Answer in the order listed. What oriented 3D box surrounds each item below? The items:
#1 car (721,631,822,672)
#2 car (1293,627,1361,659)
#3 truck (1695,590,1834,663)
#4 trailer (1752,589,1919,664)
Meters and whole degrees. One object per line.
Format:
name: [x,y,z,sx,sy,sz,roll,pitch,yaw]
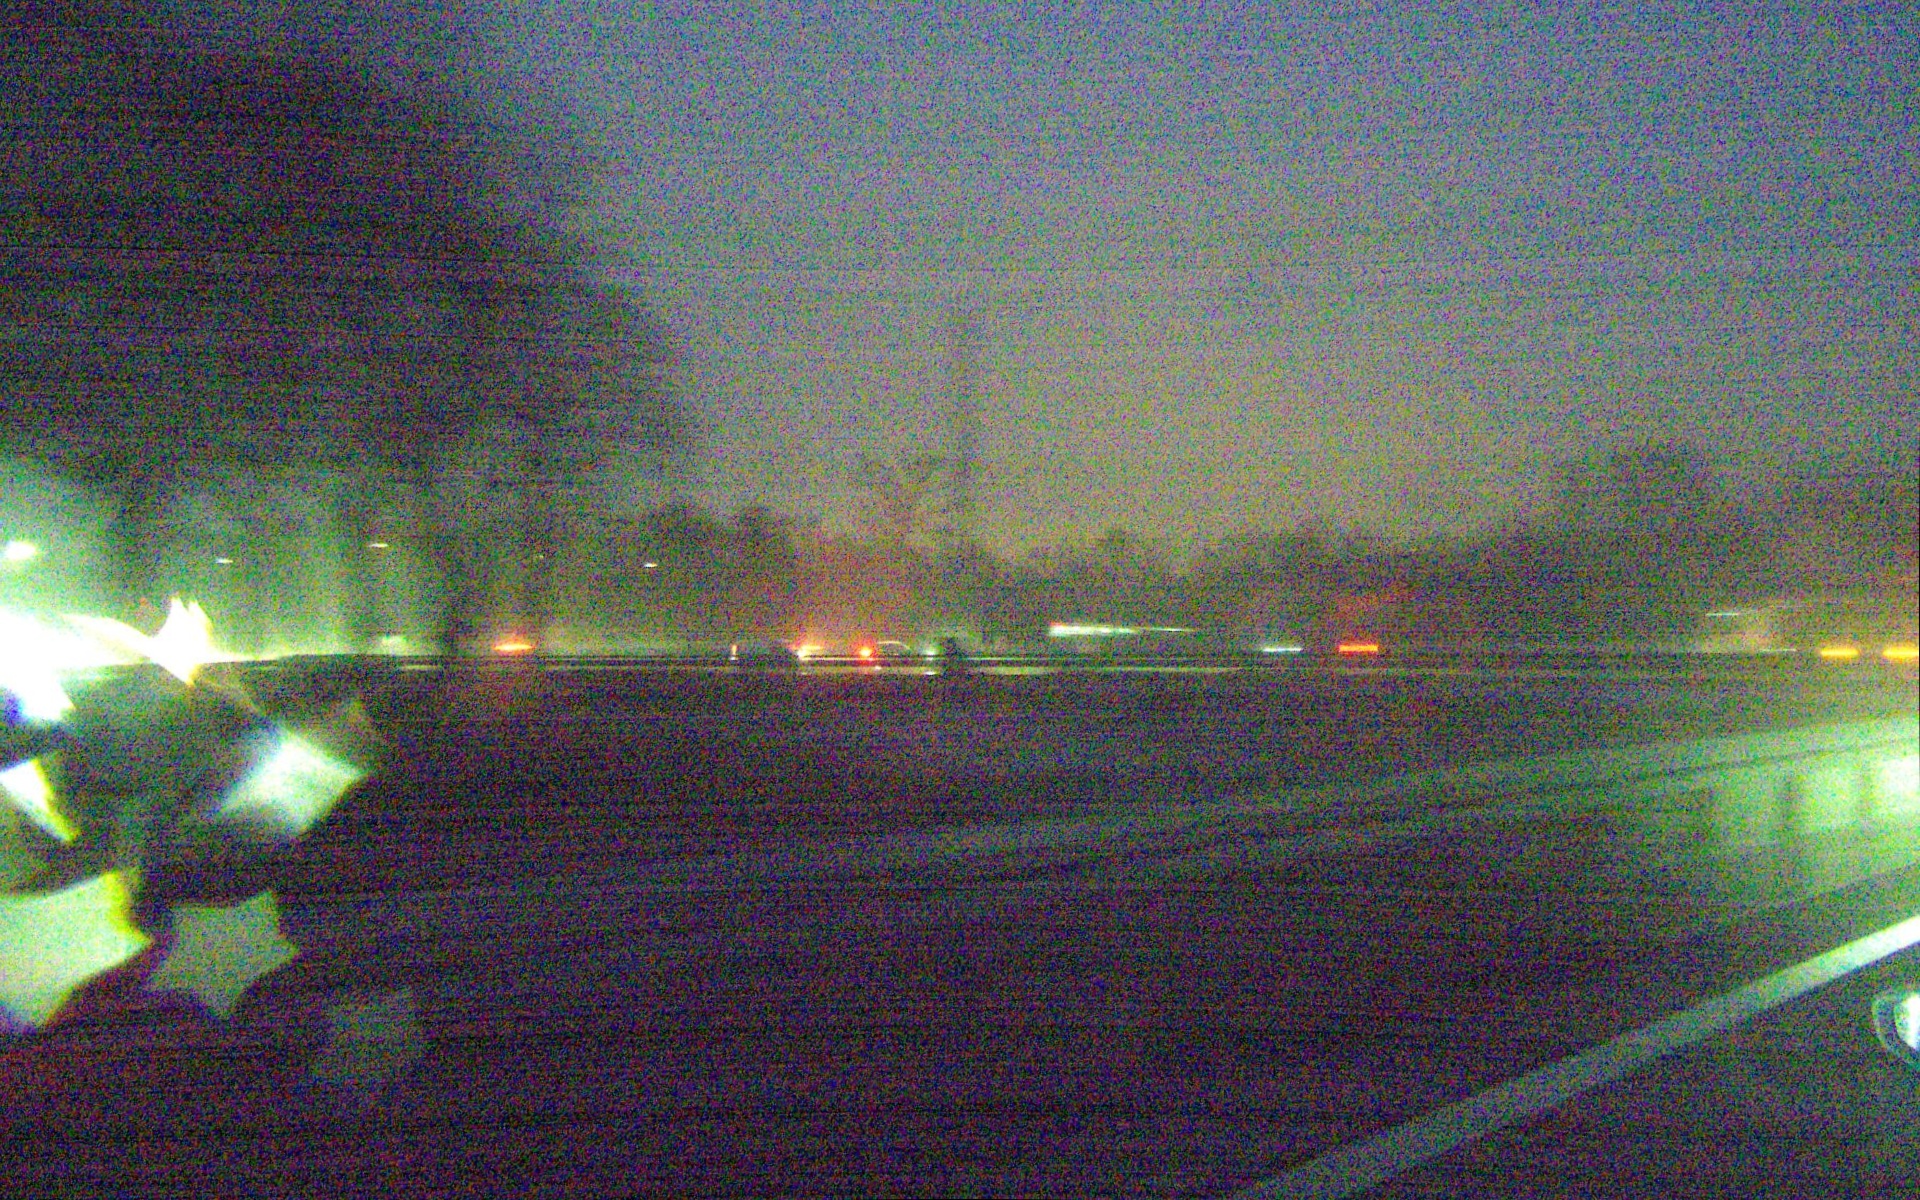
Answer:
car: [-9.978,2.694,53.173,4.917,2.040,2.001,-1,-1,17]
car: [22.980,2.697,63.044,3.920,1.929,1.921,-1,-1,17]
truck: [46.596,1.536,58.372,5.634,4.083,2.779,-1,0,18]
trailer: [53.177,1.473,56.183,13.736,4.082,2.779,-1,0,18]
